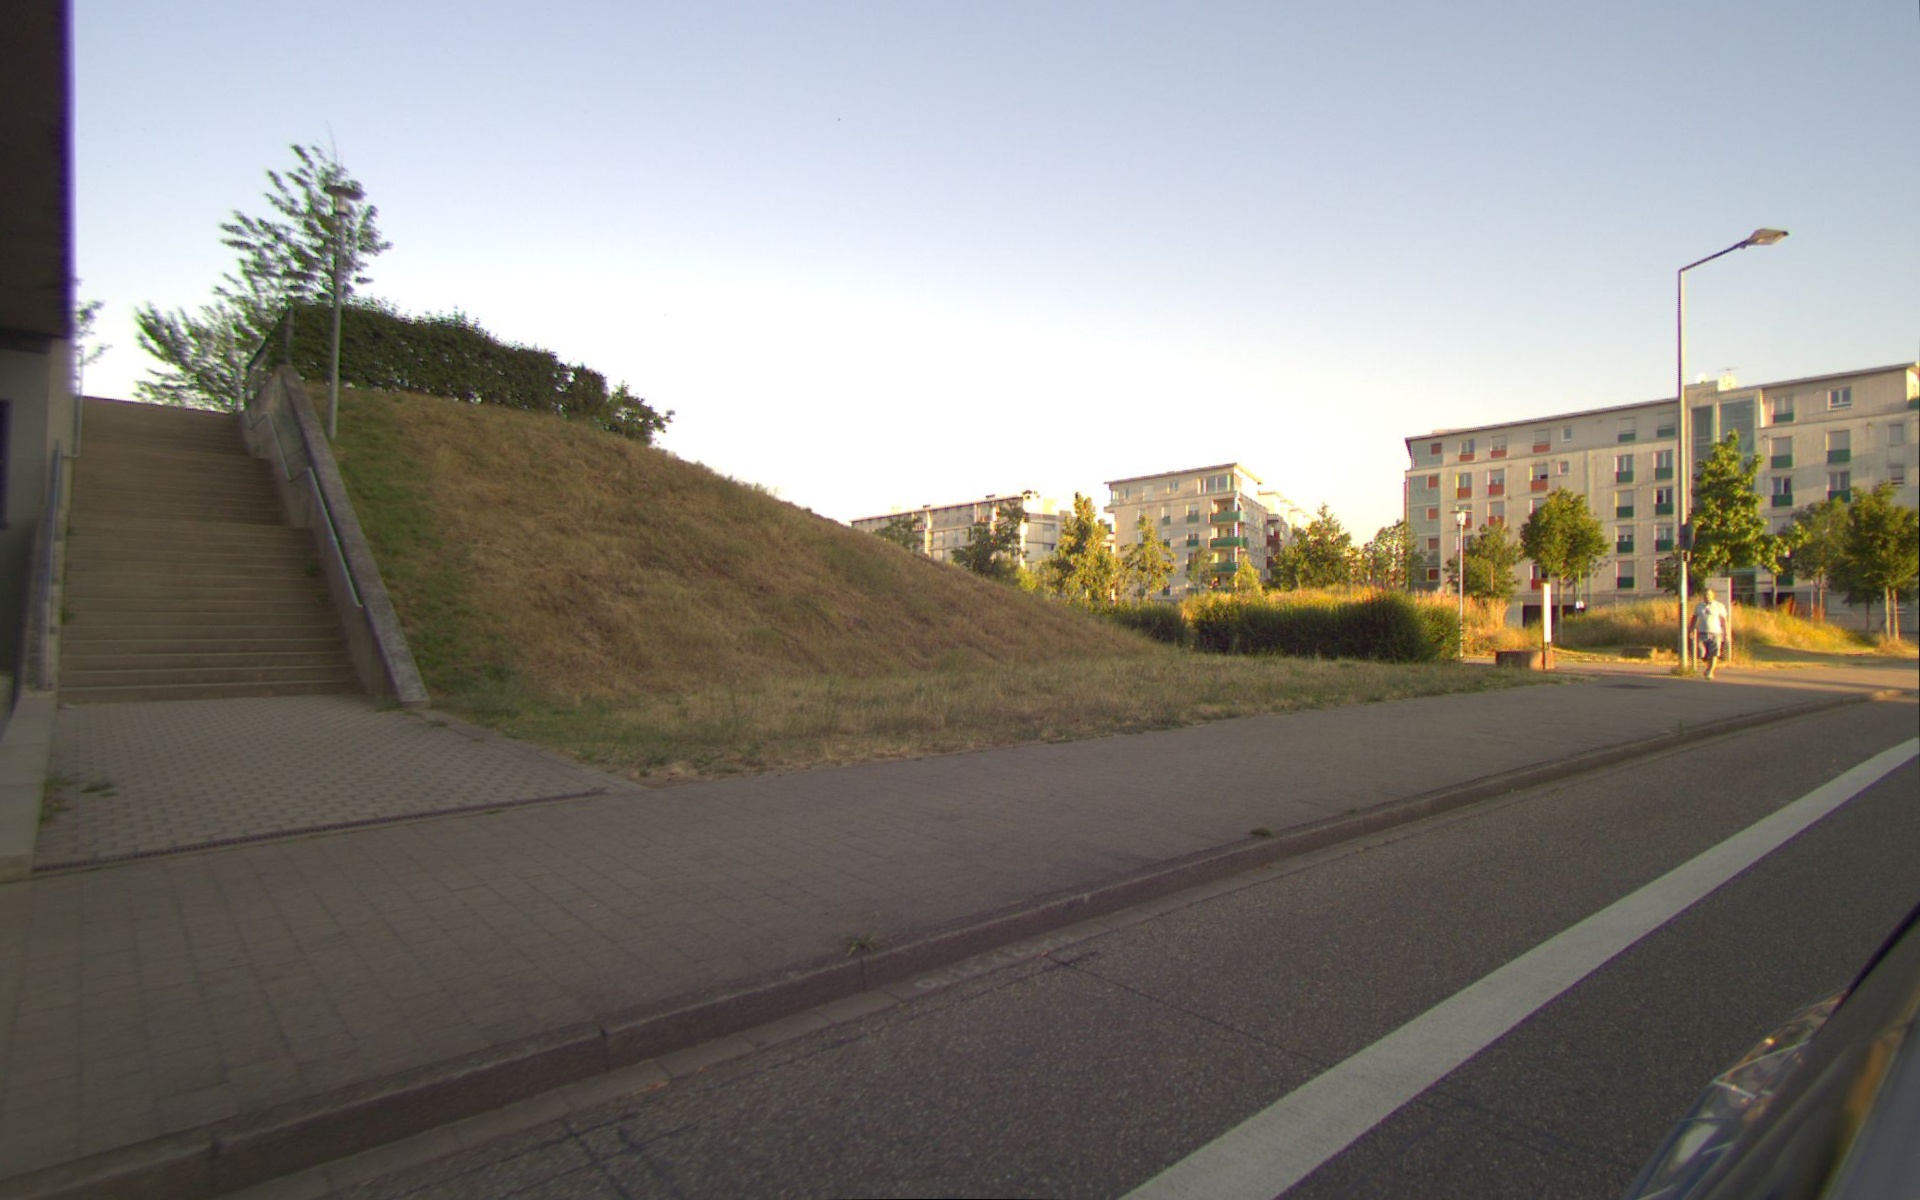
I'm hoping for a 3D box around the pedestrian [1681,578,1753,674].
[{"bbox_3d":[14.654,0.486,19.586,0.802,1.788,0.835,1,2,-33],"label":"pedestrian"}]
